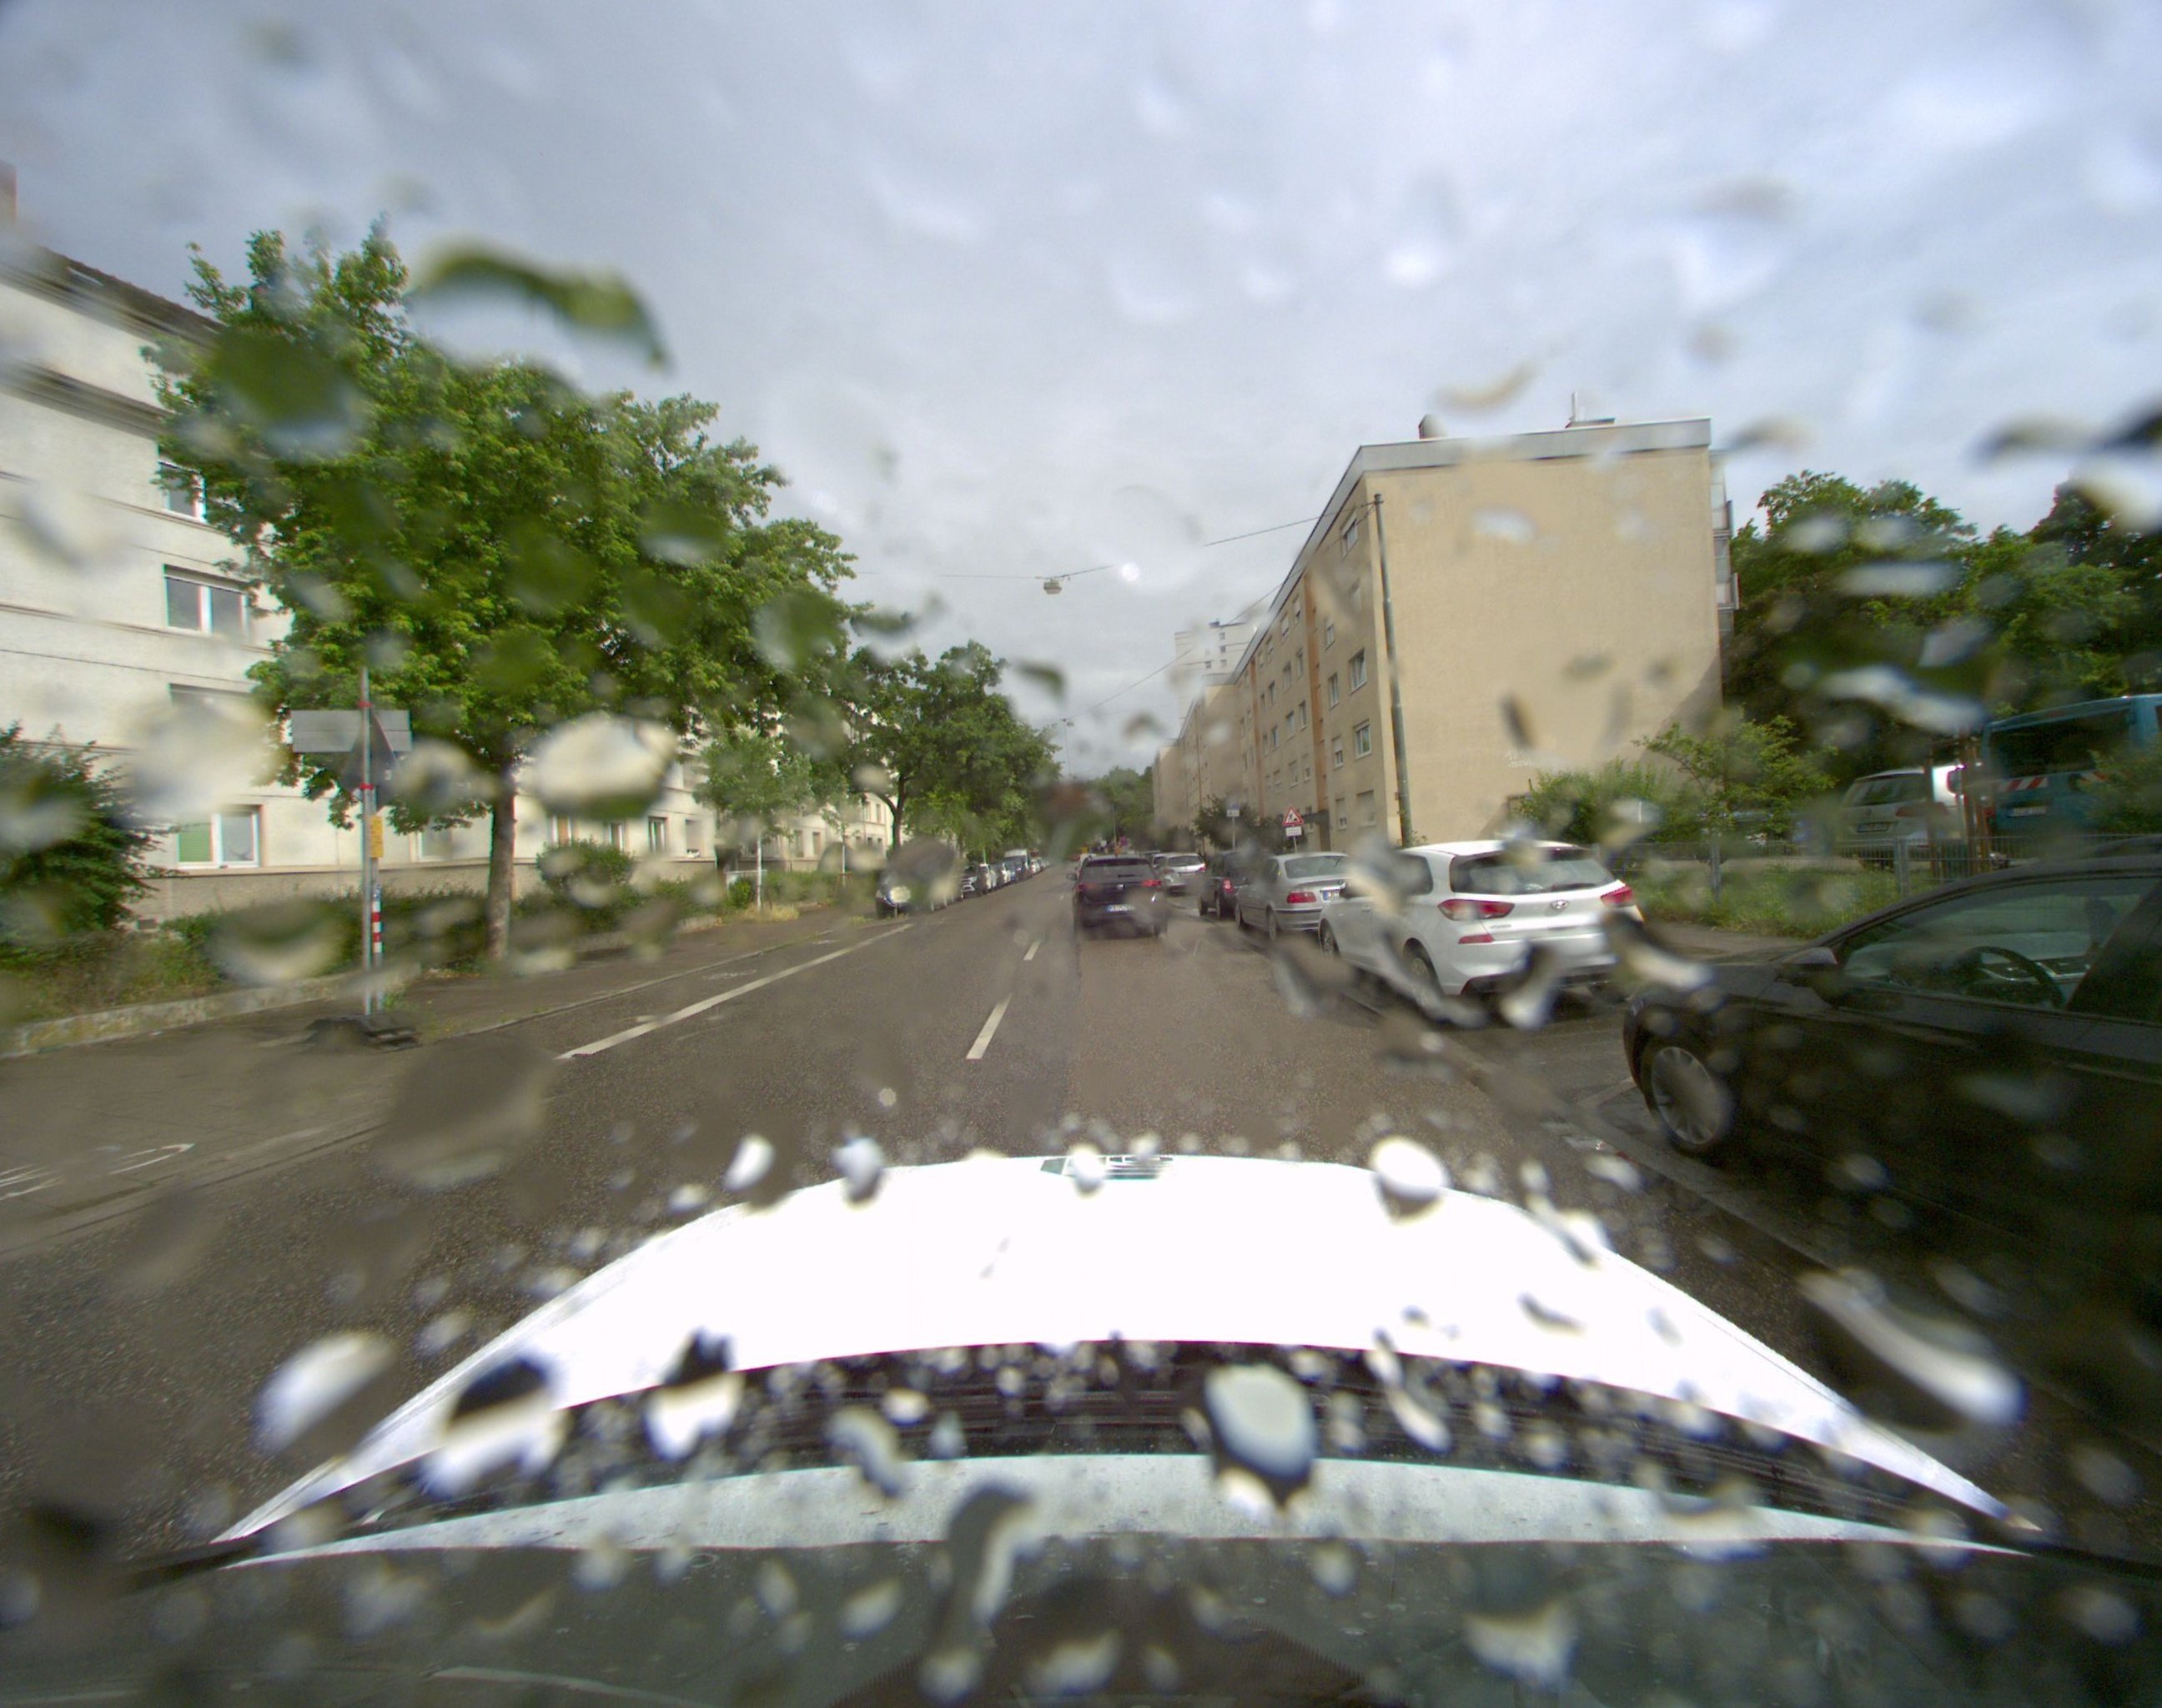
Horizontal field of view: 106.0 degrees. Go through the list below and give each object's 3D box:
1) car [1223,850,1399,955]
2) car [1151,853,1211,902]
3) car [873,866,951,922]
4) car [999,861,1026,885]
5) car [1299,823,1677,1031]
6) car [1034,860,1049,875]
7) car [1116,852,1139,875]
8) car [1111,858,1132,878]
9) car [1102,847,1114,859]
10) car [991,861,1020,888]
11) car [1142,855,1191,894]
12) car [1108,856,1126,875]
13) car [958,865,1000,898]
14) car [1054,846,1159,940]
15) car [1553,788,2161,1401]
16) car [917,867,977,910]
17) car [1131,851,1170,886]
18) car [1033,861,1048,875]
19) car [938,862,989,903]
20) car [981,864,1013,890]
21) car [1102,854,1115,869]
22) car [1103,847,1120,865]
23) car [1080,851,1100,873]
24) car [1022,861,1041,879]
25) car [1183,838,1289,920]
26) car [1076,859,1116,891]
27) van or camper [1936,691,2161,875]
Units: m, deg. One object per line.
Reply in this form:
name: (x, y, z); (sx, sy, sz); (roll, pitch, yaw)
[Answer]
car: (3.688, 0.715, 13.875); (1.711, 1.452, 4.257); (-2, 0, -1)
car: (3.577, 0.797, 29.711); (1.689, 1.539, 4.033); (-4, 0, 1)
car: (-5.292, 1.208, 25.935); (1.581, 1.505, 4.063); (-4, 0, -1)
car: (-5.165, 1.431, 61.808); (1.581, 1.639, 3.918); (-4, 0, -1)
car: (3.693, 0.629, 8.351); (1.743, 1.508, 4.110); (-3, -2, 0)
car: (-4.630, 1.612, 96.217); (1.581, 1.639, 3.918); (-4, 0, -1)
car: (3.802, 0.776, 67.129); (1.599, 1.765, 4.031); (-4, 0, 0)
car: (3.787, 1.307, 76.641); (1.599, 1.765, 4.031); (-4, 0, 0)
car: (4.223, -0.163, 127.755); (1.659, 1.837, 4.001); (-4, 0, 2)
car: (-5.165, 1.392, 56.159); (1.581, 1.639, 3.918); (-4, 0, -1)
car: (3.672, 0.854, 35.609); (1.599, 1.505, 4.031); (-4, 0, 0)
car: (3.637, 1.129, 83.089); (1.599, 1.765, 4.031); (-4, 0, 0)
car: (-5.120, 1.362, 41.393); (1.581, 1.418, 3.918); (-4, 0, -1)
car: (0.587, 0.712, 16.718); (1.865, 1.645, 4.065); (-2, 0, 4)
car: (3.473, 0.562, 2.499); (1.599, 1.508, 4.161); (-5, -1, 1)
car: (-5.123, 1.295, 31.617); (1.581, 1.418, 4.051); (-4, 0, -1)
car: (3.636, 0.762, 43.361); (1.599, 1.672, 4.031); (-4, 0, 0)
car: (-4.954, 1.713, 100.910); (1.581, 1.639, 3.918); (-4, 0, -1)
car: (-5.148, 1.229, 36.112); (1.581, 1.576, 4.012); (-4, 0, -1)
car: (-5.284, 1.416, 51.694); (1.581, 1.418, 3.918); (-4, 0, -1)
car: (3.708, 1.033, 109.386); (1.659, 1.837, 4.001); (-4, 0, 2)
car: (3.361, 0.243, 89.804); (1.659, 1.837, 4.001); (-4, 0, 2)
car: (0.899, 0.831, 82.578); (1.829, 2.103, 4.002); (-1, -1, 3)
car: (-4.941, 1.545, 82.010); (1.581, 1.639, 3.918); (-4, 0, -1)
car: (3.490, 0.519, 18.987); (1.600, 1.661, 4.030); (-2, 0, -1)
car: (0.800, 1.064, 41.402); (1.805, 1.503, 4.004); (-1, -1, 4)
van or camper: (14.767, -0.968, 10.481); (4.734, 2.131, 2.326); (-3, 0, 7)
